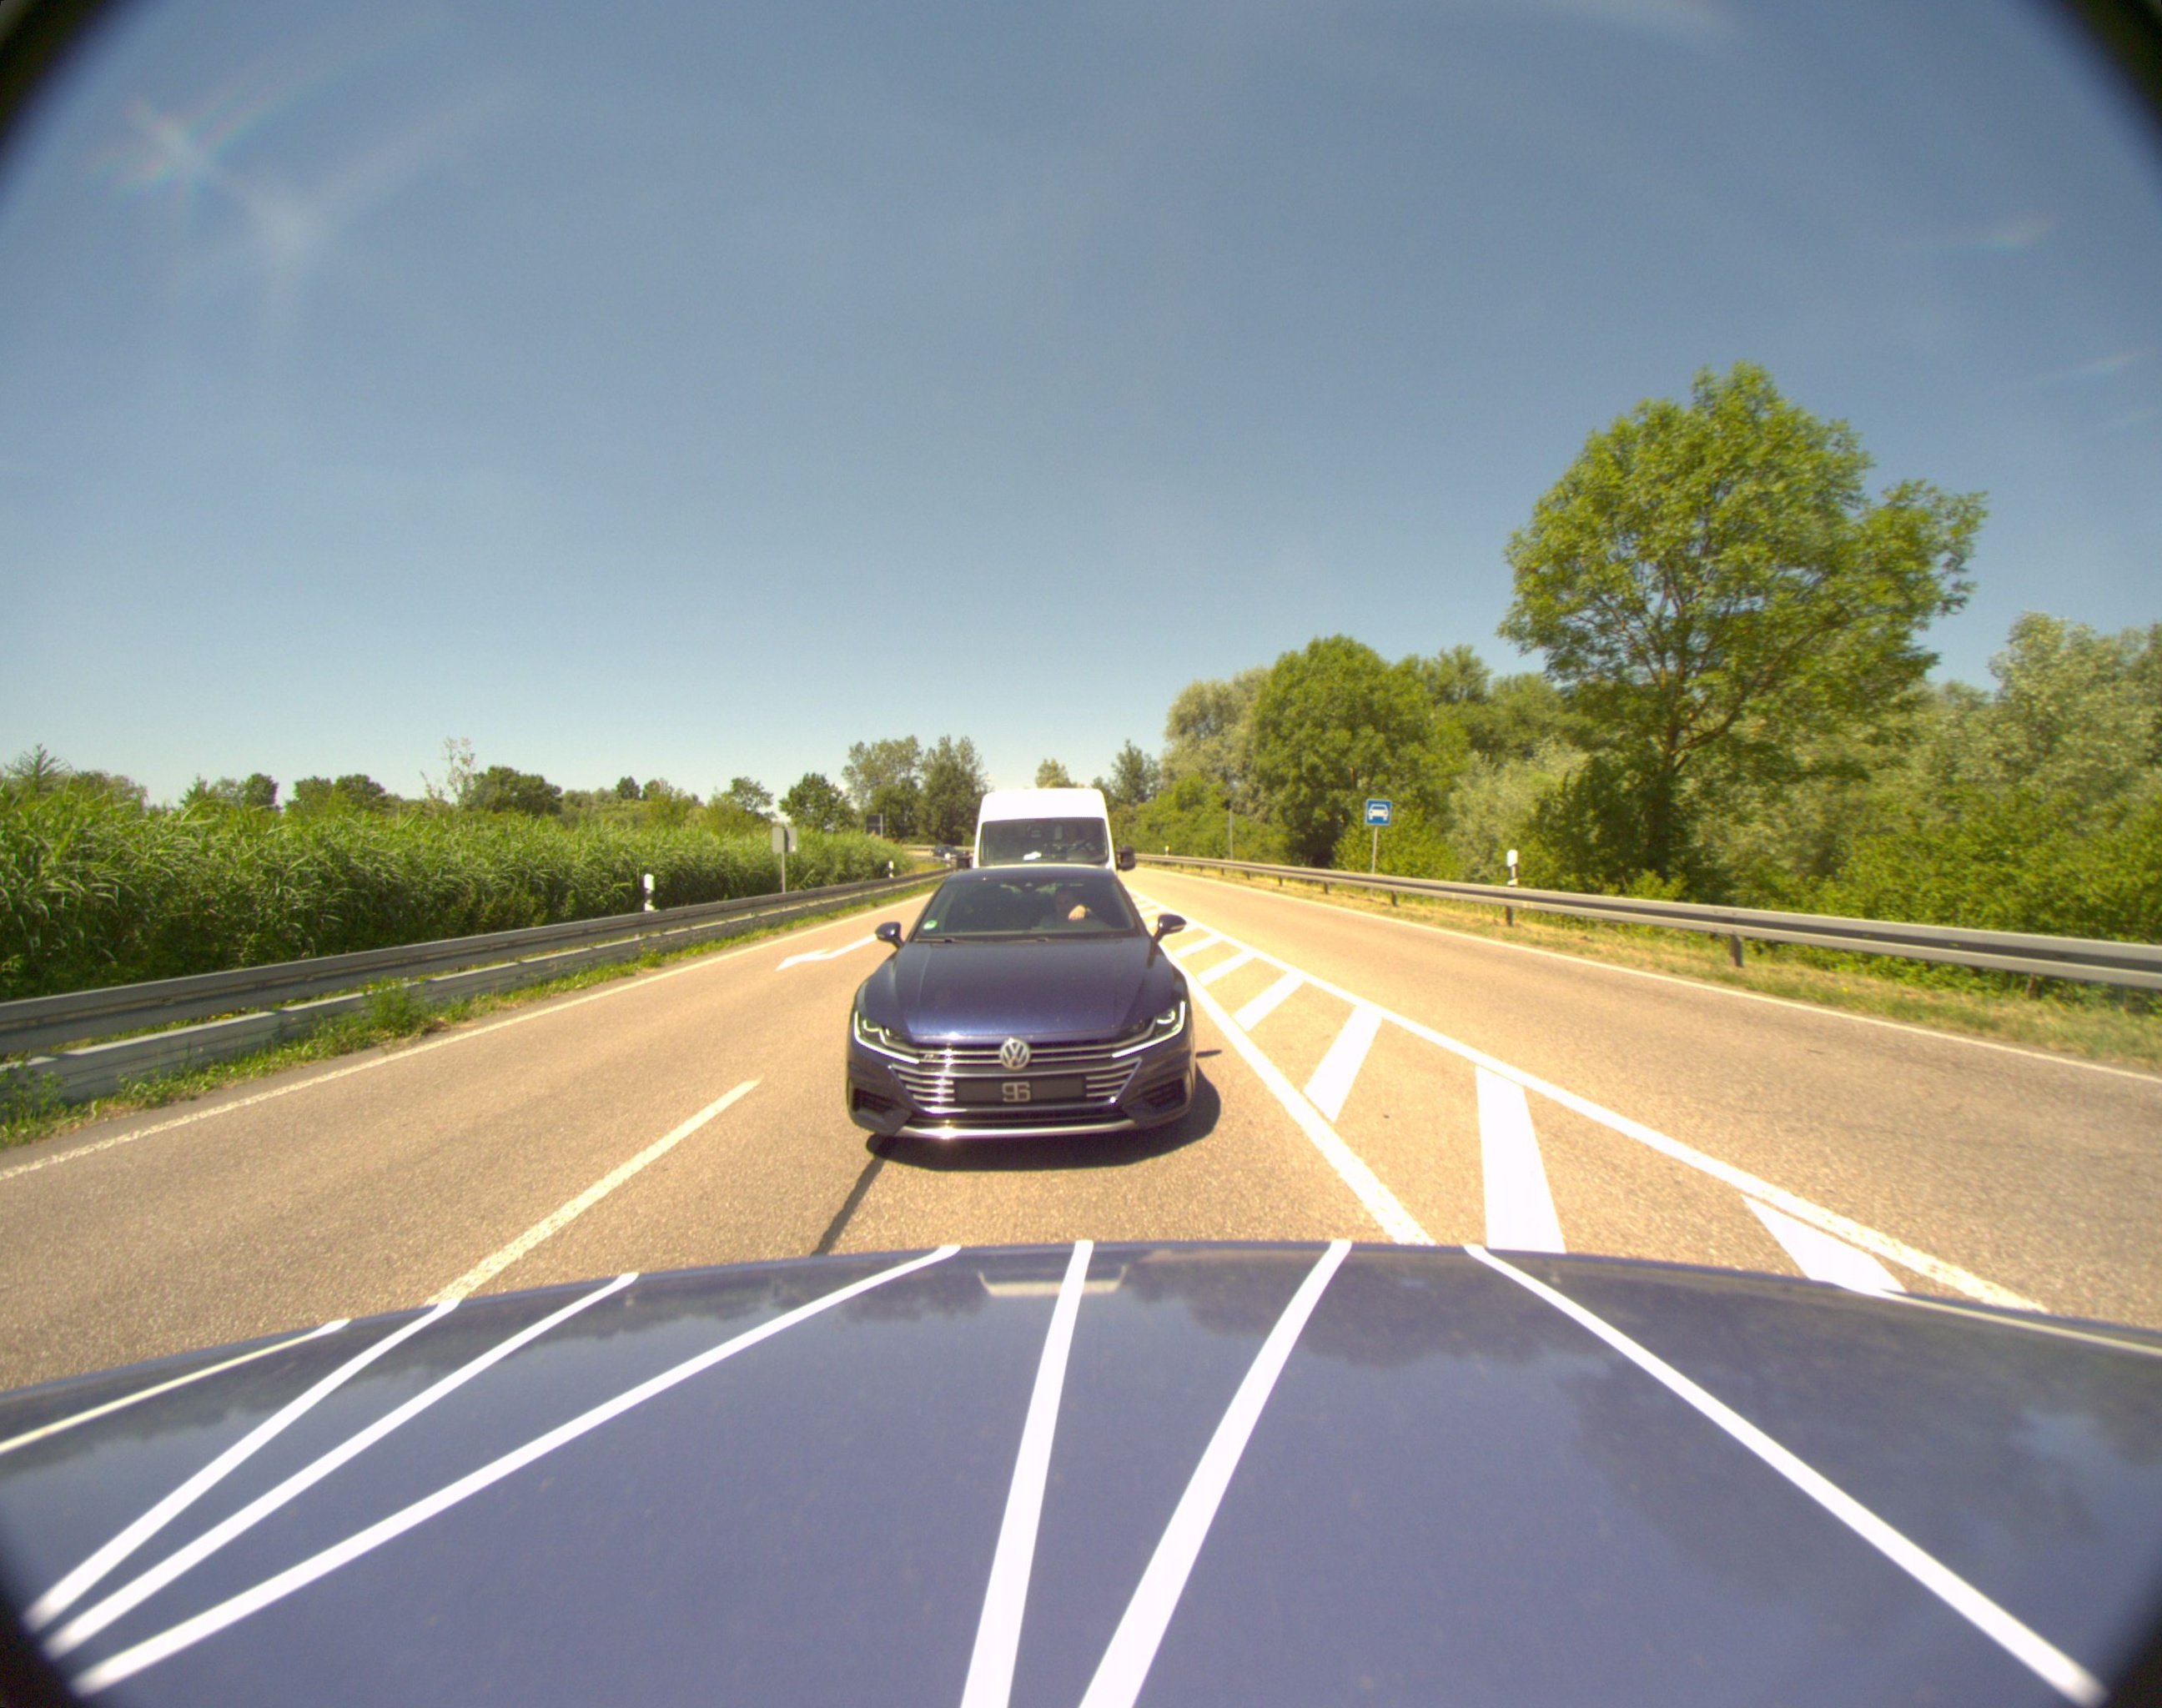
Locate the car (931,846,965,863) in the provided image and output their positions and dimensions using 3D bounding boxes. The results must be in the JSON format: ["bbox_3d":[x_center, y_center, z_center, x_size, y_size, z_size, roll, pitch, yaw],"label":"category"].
[{"bbox_3d":[-12.648,0.036,72.404,1.676,1.591,3.544,-2,1,-38],"label":"car"}]

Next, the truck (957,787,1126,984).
[{"bbox_3d":[-0.662,0.348,12.295,2.011,2.365,5.909,-2,1,-4],"label":"truck"}]

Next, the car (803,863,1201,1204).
[{"bbox_3d":[-0.342,0.869,5.760,1.819,1.454,4.415,-2,1,1],"label":"car"}]
